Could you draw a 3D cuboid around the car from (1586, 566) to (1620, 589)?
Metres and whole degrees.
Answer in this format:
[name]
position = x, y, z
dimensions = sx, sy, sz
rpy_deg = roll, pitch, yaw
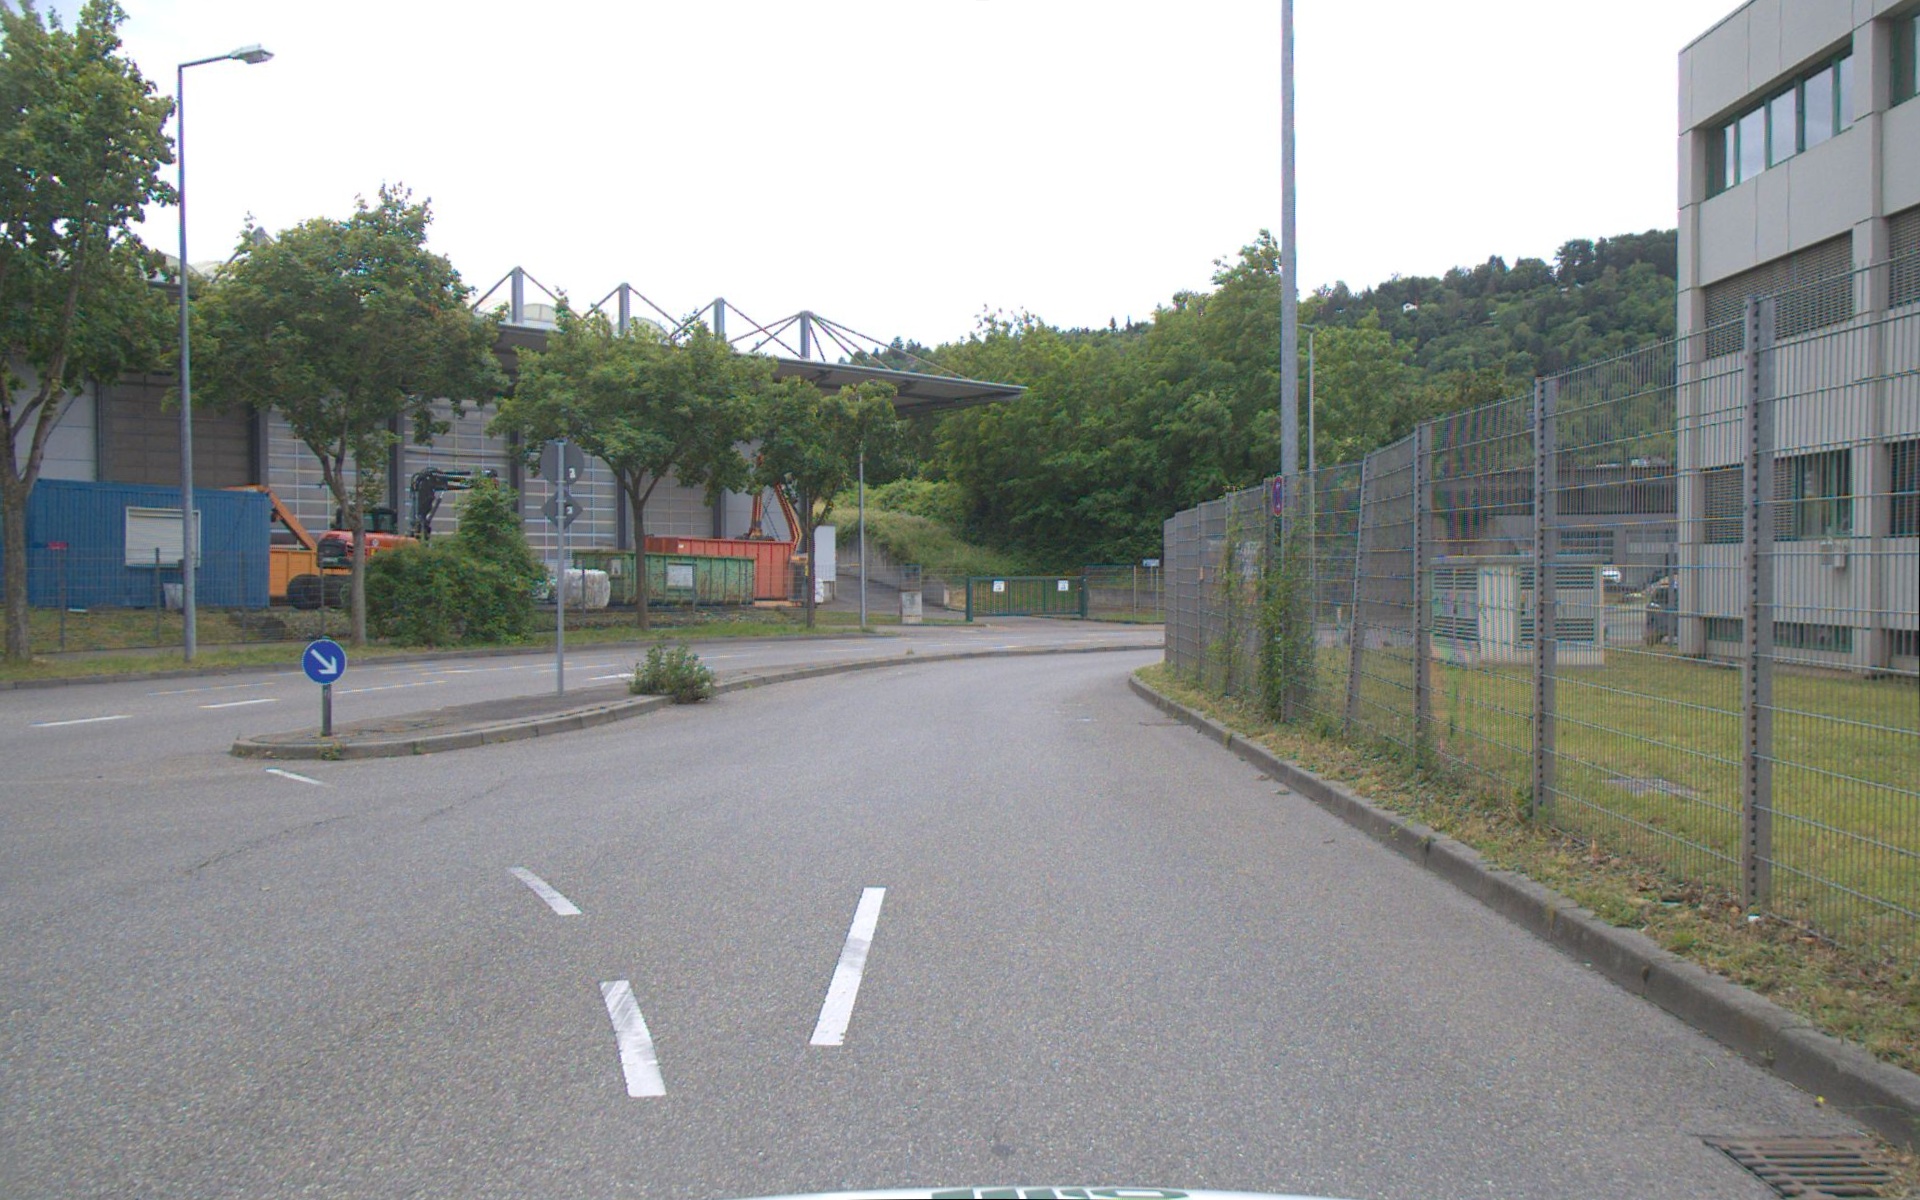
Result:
[car]
position = 44.326, -1.581, 114.053
dimensions = 1.954, 1.562, 3.998
rpy_deg = 1, 1, 25

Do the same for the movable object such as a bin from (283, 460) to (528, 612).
[movable object such as a bin]
position = -16.212, -1.817, 48.767
dimensions = 2.677, 4.162, 6.532
rpy_deg = -1, 1, 34
